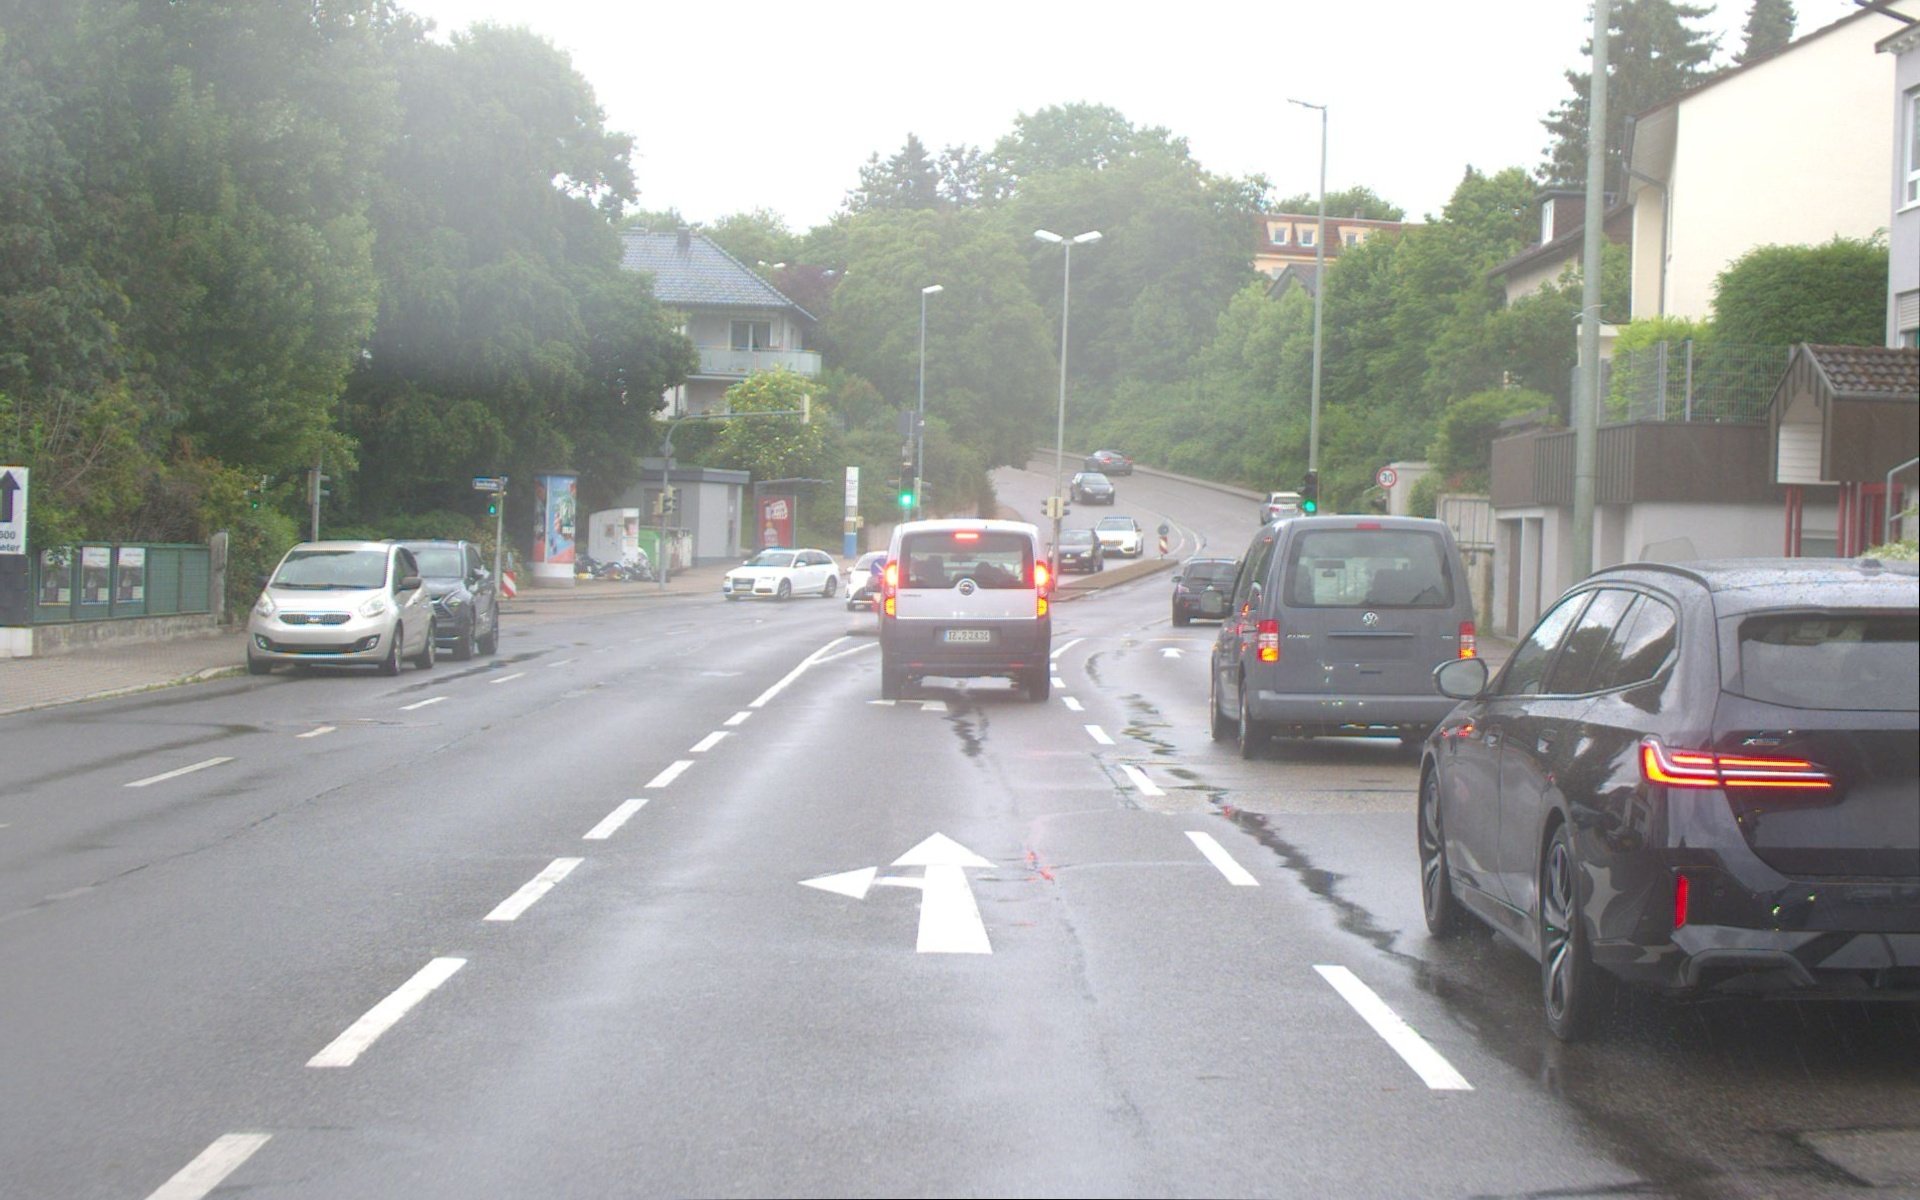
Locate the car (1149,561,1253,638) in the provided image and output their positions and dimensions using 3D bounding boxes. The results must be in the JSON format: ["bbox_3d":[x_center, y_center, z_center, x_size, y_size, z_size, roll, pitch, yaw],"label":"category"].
[{"bbox_3d":[5.261,-0.034,75.581,1.993,1.573,4.000,0,1,0],"label":"car"}]

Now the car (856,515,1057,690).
[{"bbox_3d":[-0.031,0.007,36.852,1.993,1.731,4.000,1,1,0],"label":"car"}]

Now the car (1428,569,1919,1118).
[{"bbox_3d":[2.779,0.663,11.411,1.993,1.479,4.000,1,1,2],"label":"car"}]

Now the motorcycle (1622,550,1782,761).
[{"bbox_3d":[5.535,0.387,25.758,0.703,1.504,2.150,-1,0,0],"label":"motorcycle"}]

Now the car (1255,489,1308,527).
[{"bbox_3d":[14.408,-4.106,154.215,1.993,1.579,4.000,1,1,0],"label":"car"}]

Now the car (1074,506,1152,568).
[{"bbox_3d":[5.887,-2.454,133.232,2.521,2.006,5.610,2,4,-2],"label":"car"}]

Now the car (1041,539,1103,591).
[{"bbox_3d":[3.874,-1.220,119.194,1.993,1.766,4.000,0,1,0],"label":"car"}]

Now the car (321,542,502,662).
[{"bbox_3d":[-7.689,0.008,48.543,1.884,1.579,4.000,1,1,0],"label":"car"}]

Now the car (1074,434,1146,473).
[{"bbox_3d":[8.388,-8.220,192.706,2.521,2.006,5.611,1,4,-13],"label":"car"}]

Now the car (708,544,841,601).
[{"bbox_3d":[-5.247,-0.761,97.720,1.996,1.542,4.390,2,1,23],"label":"car"}]

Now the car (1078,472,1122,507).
[{"bbox_3d":[6.933,-5.494,171.030,1.993,1.579,4.000,1,1,0],"label":"car"}]

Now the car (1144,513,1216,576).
[{"bbox_3d":[8.106,-2.076,127.017,2.522,2.006,5.608,2,4,3],"label":"car"}]

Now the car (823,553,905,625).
[{"bbox_3d":[-2.471,-0.304,89.237,1.993,1.766,4.000,1,1,0],"label":"car"}]

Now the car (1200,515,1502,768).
[{"bbox_3d":[2.937,0.278,26.582,1.838,1.761,4.000,1,1,0],"label":"car"}]

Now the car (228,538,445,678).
[{"bbox_3d":[-7.546,0.076,41.940,1.884,1.579,4.000,1,1,0],"label":"car"}]
